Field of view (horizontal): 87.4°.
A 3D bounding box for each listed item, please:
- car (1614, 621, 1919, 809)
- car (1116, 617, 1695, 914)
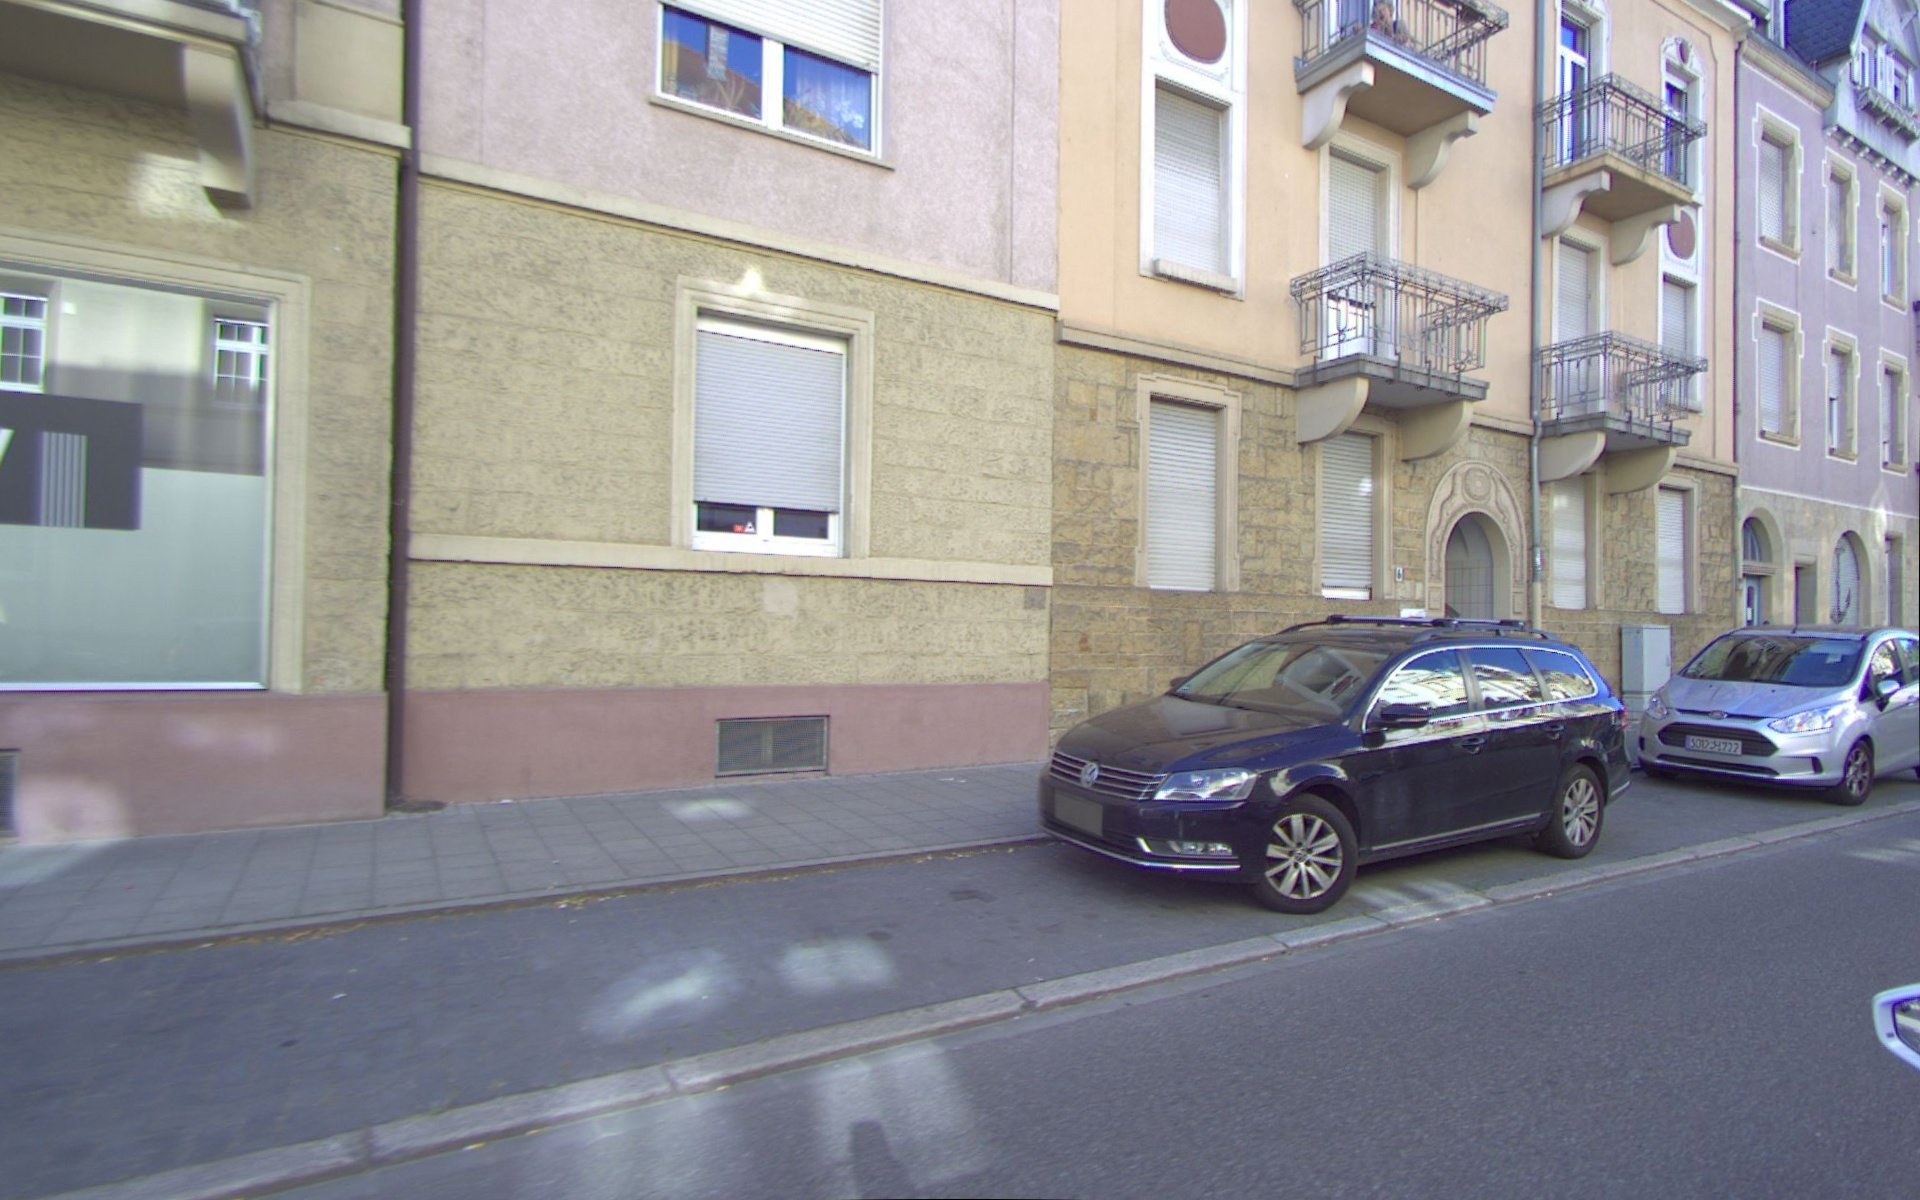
[{"bbox_3d":[8.466,1.017,10.181,3.682,1.558,1.705,1,-1,-32],"label":"car"},{"bbox_3d":[3.207,0.924,7.027,4.063,1.541,1.706,1,-2,-31],"label":"car"}]
